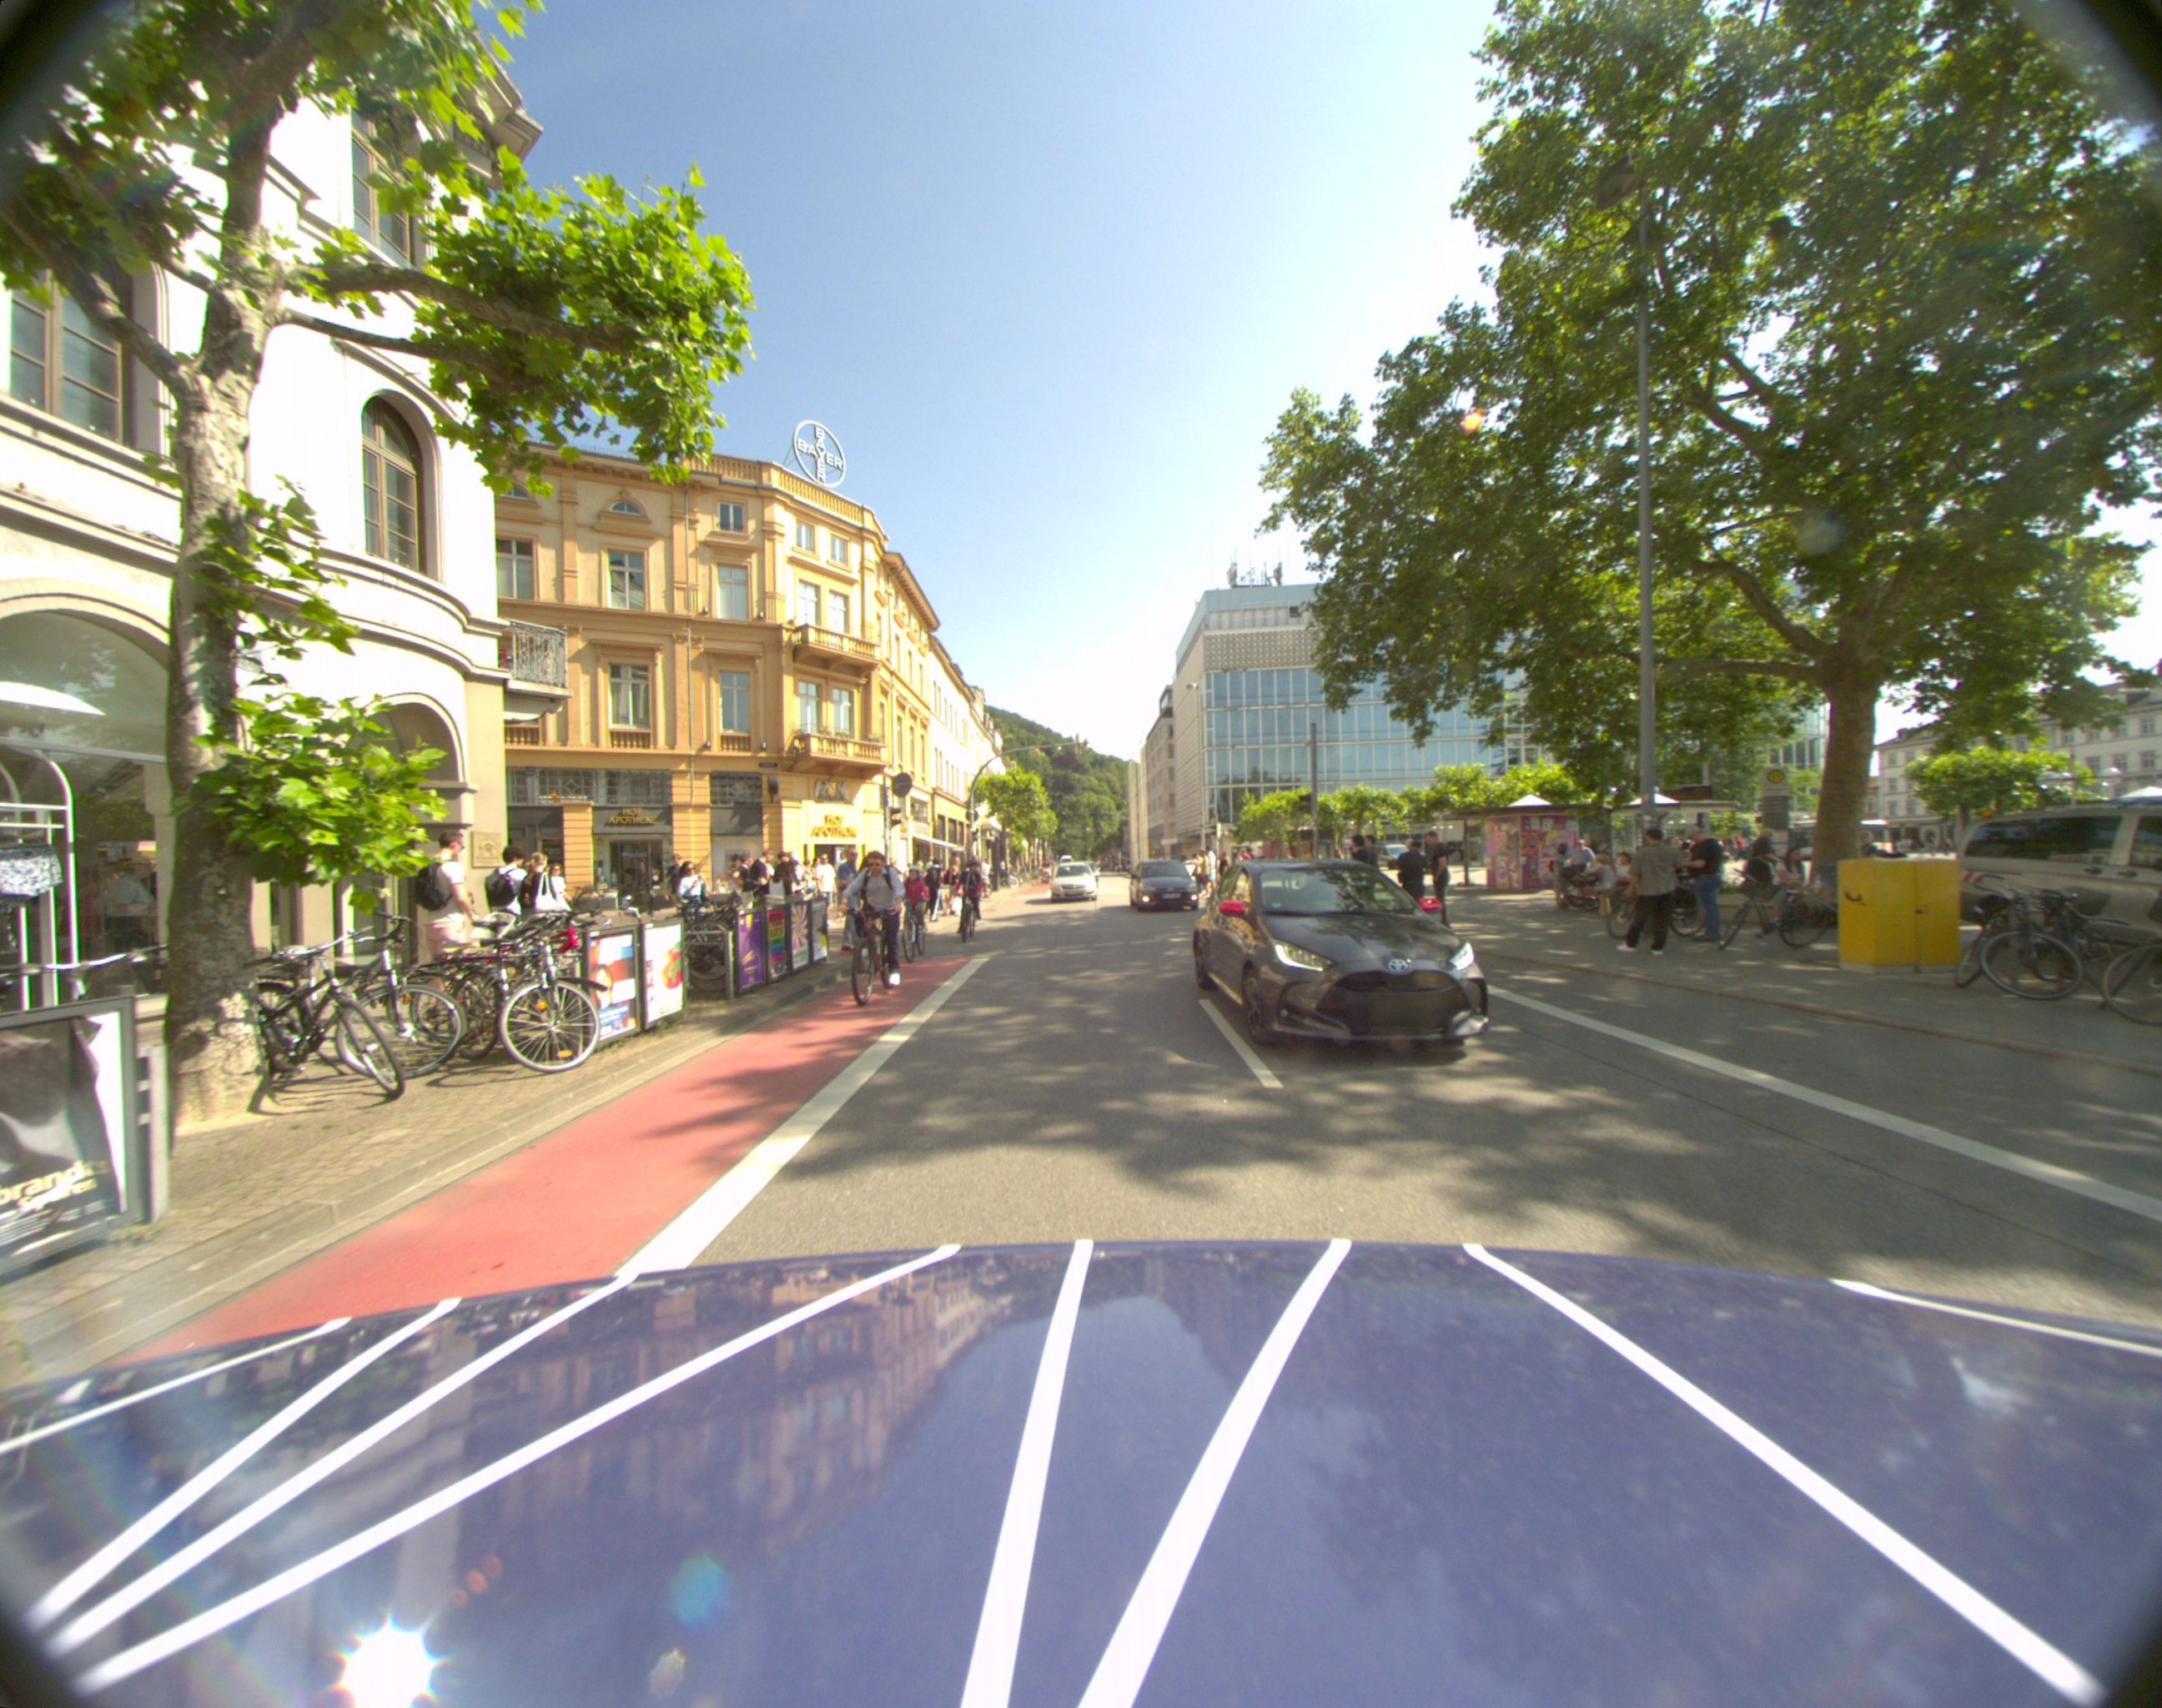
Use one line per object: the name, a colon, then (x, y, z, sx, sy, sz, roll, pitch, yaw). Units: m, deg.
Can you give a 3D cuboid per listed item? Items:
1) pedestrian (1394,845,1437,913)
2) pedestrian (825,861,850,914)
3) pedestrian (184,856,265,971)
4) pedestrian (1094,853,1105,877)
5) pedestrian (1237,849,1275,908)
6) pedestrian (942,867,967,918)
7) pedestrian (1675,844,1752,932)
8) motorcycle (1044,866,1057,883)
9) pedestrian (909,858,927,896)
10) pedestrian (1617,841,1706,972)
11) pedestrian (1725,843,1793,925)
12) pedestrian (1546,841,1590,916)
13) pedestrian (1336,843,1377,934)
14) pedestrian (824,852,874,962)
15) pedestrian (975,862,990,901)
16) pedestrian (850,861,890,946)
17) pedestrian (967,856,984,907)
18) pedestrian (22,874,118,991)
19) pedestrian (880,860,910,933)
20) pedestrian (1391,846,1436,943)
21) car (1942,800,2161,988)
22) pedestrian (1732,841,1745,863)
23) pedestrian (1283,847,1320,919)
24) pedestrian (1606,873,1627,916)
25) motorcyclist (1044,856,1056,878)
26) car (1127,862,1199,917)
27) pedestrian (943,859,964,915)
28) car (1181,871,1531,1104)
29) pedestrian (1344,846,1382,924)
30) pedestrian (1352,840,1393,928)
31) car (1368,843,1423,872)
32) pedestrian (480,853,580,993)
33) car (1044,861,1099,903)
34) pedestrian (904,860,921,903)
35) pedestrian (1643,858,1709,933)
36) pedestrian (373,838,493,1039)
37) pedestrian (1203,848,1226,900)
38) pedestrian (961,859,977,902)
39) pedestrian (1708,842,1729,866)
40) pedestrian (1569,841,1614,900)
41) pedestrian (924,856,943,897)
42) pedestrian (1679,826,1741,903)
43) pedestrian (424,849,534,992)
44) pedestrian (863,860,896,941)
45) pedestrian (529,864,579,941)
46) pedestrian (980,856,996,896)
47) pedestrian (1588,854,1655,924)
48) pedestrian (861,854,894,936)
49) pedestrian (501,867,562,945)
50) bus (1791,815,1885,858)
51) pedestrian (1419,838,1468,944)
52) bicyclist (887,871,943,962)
pedestrian: (8.800, 0.644, 20.018, 0.751, 1.737, 0.667, -3, 1, -2)
pedestrian: (-8.005, 1.090, 24.994, 0.578, 1.716, 0.622, -1, 1, 1)
pedestrian: (-14.319, 0.968, 12.725, 0.623, 1.834, 0.789, -4, 1, -33)
pedestrian: (1.344, 0.785, 54.854, 0.699, 1.774, 0.578, 0, 0, -6)
pedestrian: (5.361, 0.750, 23.301, 0.876, 1.737, 0.733, -3, 1, -2)
pedestrian: (-3.779, 1.131, 22.721, 0.673, 1.488, 0.637, 0, 0, -15)
pedestrian: (12.047, 0.639, 14.486, 0.752, 1.587, 0.782, -3, 1, -10)
motorcycle: (-2.093, 1.396, 52.186, 0.736, 1.086, 1.898, -3, 0, 0)
pedestrian: (-7.331, 1.039, 34.169, 0.688, 1.674, 0.578, -1, 0, -5)
pedestrian: (7.872, 0.687, 10.324, 0.643, 1.681, 0.642, -3, 1, -14)
pedestrian: (15.093, 0.660, 16.928, 0.752, 1.737, 0.782, -3, 1, -10)
pedestrian: (11.678, 0.583, 18.243, 0.750, 1.737, 0.784, -3, 1, 26)
pedestrian: (5.557, 0.684, 15.312, 0.537, 1.773, 0.745, -3, 1, 34)
pedestrian: (-4.019, 0.894, 13.201, 0.578, 1.835, 0.717, -3, 1, -3)
pedestrian: (-4.029, 1.124, 31.031, 0.531, 1.586, 0.588, 0, 1, -12)
pedestrian: (-4.326, 0.993, 15.582, 0.578, 1.675, 0.622, -3, 1, -3)
pedestrian: (-3.954, 1.014, 28.472, 0.578, 1.863, 0.680, 1, 0, -12)
pedestrian: (-15.003, 1.138, 11.292, 0.622, 1.658, 0.578, -1, -1, -10)
pedestrian: (-4.390, 0.986, 17.968, 0.578, 1.674, 0.669, 0, 0, -3)
pedestrian: (5.895, 0.701, 13.456, 0.630, 1.639, 0.753, -3, 1, 26)
car: (12.745, 0.371, 8.461, 1.996, 2.002, 5.074, -3, 0, 21)
pedestrian: (44.868, -0.137, 51.843, 0.554, 1.464, 0.759, -3, 1, 36)
pedestrian: (5.450, 0.706, 18.805, 0.612, 1.737, 0.752, -2, 1, -2)
pedestrian: (12.086, 0.912, 17.155, 0.339, 0.961, 0.282, -3, 1, 30)
motorcyclist: (-2.114, 0.908, 52.219, 0.736, 1.446, 0.707, -3, 1, 0)
car: (2.360, 0.989, 22.732, 1.699, 1.396, 4.000, -2, 0, 1)
pedestrian: (-3.938, 1.019, 23.489, 0.578, 1.719, 0.718, 1, -2, -8)
car: (2.127, 0.949, 7.135, 1.782, 1.466, 3.999, 0, 0, -1)
pedestrian: (6.344, 0.688, 17.108, 0.604, 1.705, 0.606, -1, 1, -2)
pedestrian: (6.256, 0.635, 16.326, 0.595, 1.835, 0.738, 0, 1, -2)
car: (23.424, 0.273, 56.763, 2.000, 2.002, 3.997, -3, 0, -7)
pedestrian: (-7.193, 0.874, 9.956, 0.676, 1.730, 0.753, -3, 1, -2)
car: (-0.324, 1.031, 29.481, 1.918, 1.401, 4.000, -3, 0, 1)
pedestrian: (-6.532, 1.050, 29.496, 0.578, 1.650, 0.621, -1, 0, -12)
pedestrian: (11.901, 0.814, 15.211, 0.752, 1.416, 0.673, -3, 1, -11)
pedestrian: (-6.346, 0.799, 7.466, 0.546, 1.871, 0.602, -3, 1, -2)
pedestrian: (5.030, 0.738, 28.637, 0.639, 1.903, 0.733, -3, 1, -2)
pedestrian: (-4.427, 1.051, 30.136, 0.578, 1.674, 0.676, 0, 0, -12)
pedestrian: (39.433, 0.006, 46.992, 0.555, 1.464, 0.758, -3, 1, -1)
pedestrian: (15.475, 0.498, 23.049, 0.751, 1.737, 0.782, -3, 1, -2)
pedestrian: (-6.613, 1.008, 34.092, 0.758, 1.782, 0.859, -1, 0, -11)
pedestrian: (14.916, 0.244, 18.035, 0.752, 1.737, 0.782, -3, 1, -10)
pedestrian: (-7.929, 0.844, 10.044, 0.721, 1.772, 0.776, -3, 1, -2)
pedestrian: (-4.284, 0.976, 16.172, 0.569, 1.675, 0.591, 0, 0, -3)
pedestrian: (-12.355, 1.121, 17.830, 0.578, 1.744, 0.699, -3, 1, 0)
pedestrian: (-4.178, 0.973, 34.073, 0.651, 1.770, 0.621, 0, 2, -13)
pedestrian: (11.308, 0.714, 15.916, 0.752, 1.399, 0.782, -3, 1, -10)
pedestrian: (-4.511, 0.888, 16.856, 0.578, 1.774, 0.699, 0, 0, -3)
pedestrian: (-12.118, 1.132, 16.780, 0.798, 1.638, 0.622, -3, 1, 0)
bus: (58.057, -1.382, 58.141, 12.202, 2.774, 2.384, -3, 0, -32)
pedestrian: (6.522, 0.650, 13.680, 0.517, 1.825, 0.716, -3, 1, 7)
bicyclist: (-2.711, 1.002, 12.446, 0.690, 1.388, 0.778, -3, 1, -2)
